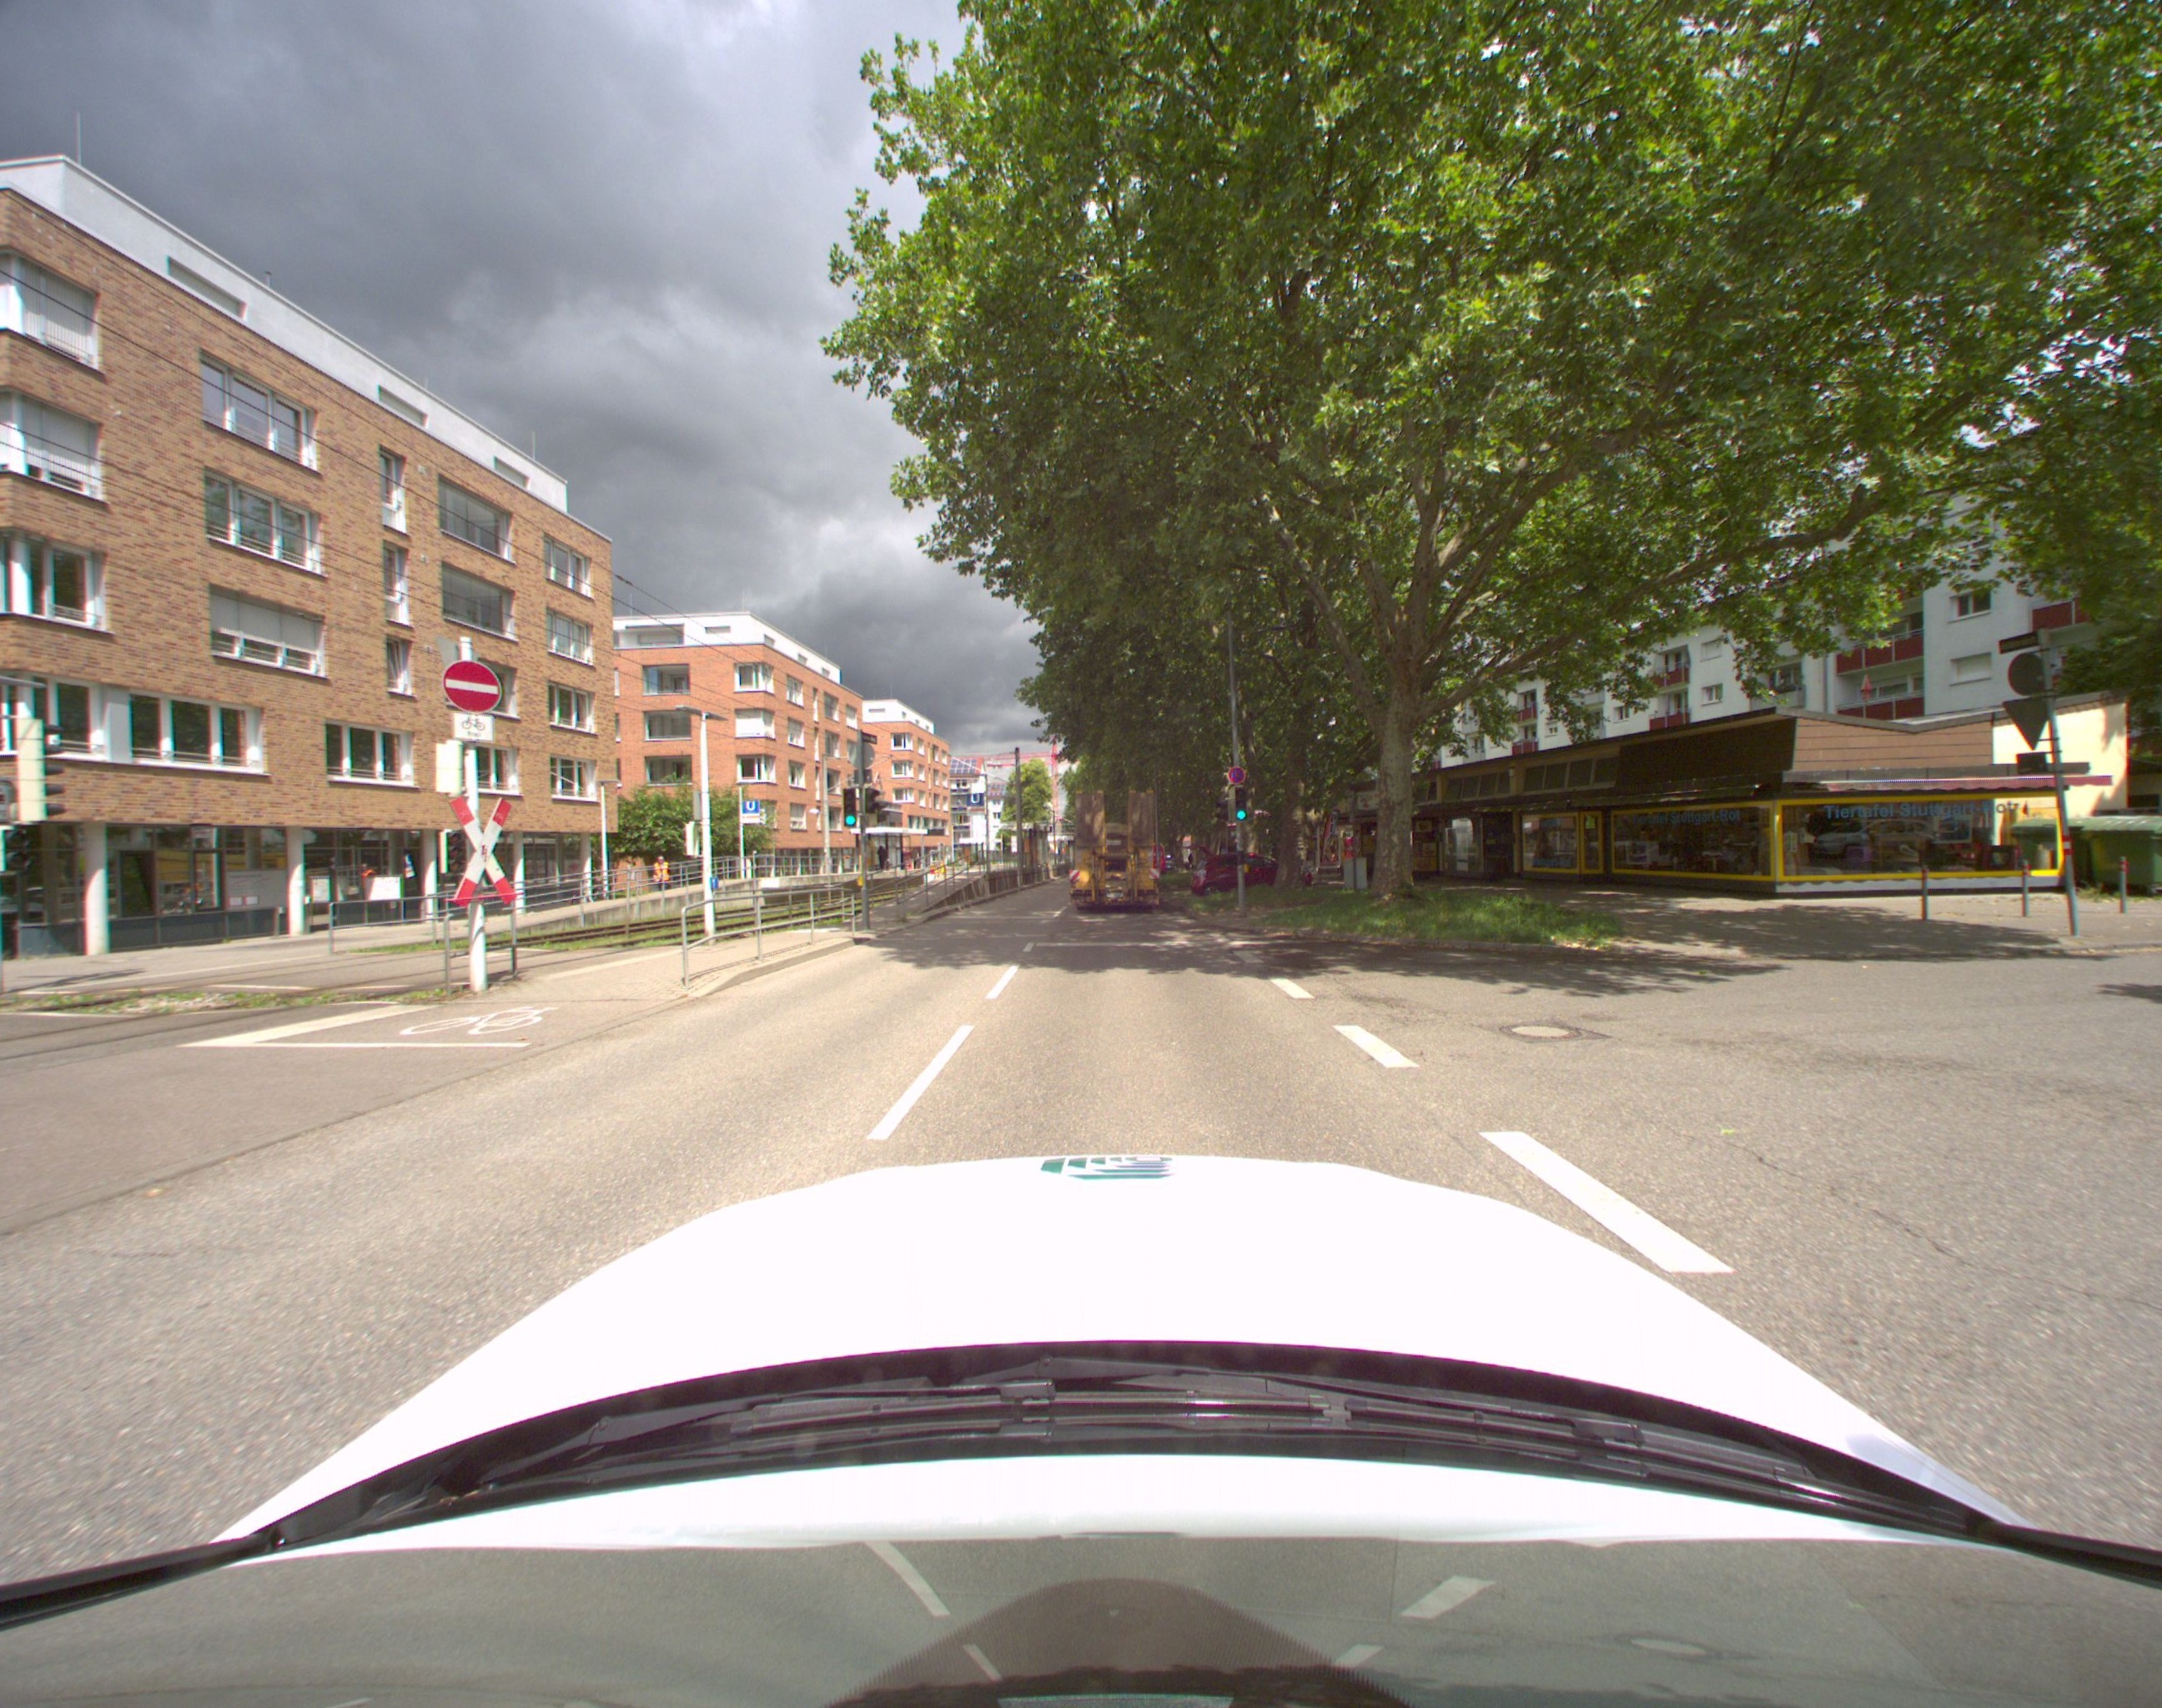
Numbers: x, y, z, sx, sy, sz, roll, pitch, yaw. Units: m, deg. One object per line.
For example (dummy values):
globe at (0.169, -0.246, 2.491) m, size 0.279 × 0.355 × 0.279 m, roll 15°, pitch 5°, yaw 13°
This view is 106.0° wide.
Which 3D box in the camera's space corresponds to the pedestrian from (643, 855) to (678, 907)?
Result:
pedestrian at (-15.253, 0.965, 29.549) m, size 0.740 × 1.825 × 0.829 m, roll -2°, pitch 0°, yaw 2°

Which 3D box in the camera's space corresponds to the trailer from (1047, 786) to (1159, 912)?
trailer at (0.858, -0.108, 28.643) m, size 3.142 × 3.552 × 11.103 m, roll 0°, pitch 0°, yaw 2°

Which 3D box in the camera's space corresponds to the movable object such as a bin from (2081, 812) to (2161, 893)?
movable object such as a bin at (20.018, -0.049, 15.233) m, size 1.172 × 1.412 × 1.212 m, roll -3°, pitch 2°, yaw -1°

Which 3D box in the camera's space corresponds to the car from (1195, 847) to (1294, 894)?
car at (6.262, 0.633, 31.425) m, size 3.397 × 1.514 × 1.609 m, roll -4°, pitch -1°, yaw -2°

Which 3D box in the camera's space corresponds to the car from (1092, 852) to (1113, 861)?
car at (5.423, 0.667, 205.619) m, size 5.092 × 2.102 × 1.969 m, roll 1°, pitch -1°, yaw -12°

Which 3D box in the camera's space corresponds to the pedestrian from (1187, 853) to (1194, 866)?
pedestrian at (12.001, 0.649, 89.281) m, size 0.693 × 1.392 × 0.512 m, roll -2°, pitch -1°, yaw -1°

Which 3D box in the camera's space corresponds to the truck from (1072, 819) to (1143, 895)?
truck at (1.281, 0.146, 38.124) m, size 2.977 × 3.135 × 7.892 m, roll 0°, pitch 0°, yaw 2°

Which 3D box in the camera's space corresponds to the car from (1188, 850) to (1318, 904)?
car at (5.636, 0.742, 27.085) m, size 4.010 × 1.611 × 1.733 m, roll -2°, pitch 0°, yaw 5°

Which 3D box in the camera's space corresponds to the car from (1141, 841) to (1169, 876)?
car at (5.911, 0.386, 65.758) m, size 1.896 × 2.581 × 6.839 m, roll -3°, pitch 0°, yaw 3°

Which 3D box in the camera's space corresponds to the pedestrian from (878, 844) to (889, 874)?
pedestrian at (-12.074, 0.307, 49.796) m, size 0.532 × 1.764 × 0.528 m, roll -2°, pitch -1°, yaw 0°

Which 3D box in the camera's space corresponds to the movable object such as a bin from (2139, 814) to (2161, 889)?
movable object such as a bin at (21.245, -0.057, 15.312) m, size 1.172 × 1.412 × 1.212 m, roll -3°, pitch 2°, yaw -1°

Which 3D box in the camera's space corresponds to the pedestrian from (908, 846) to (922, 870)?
pedestrian at (-11.624, 0.265, 57.006) m, size 0.748 × 1.629 × 0.816 m, roll 0°, pitch 0°, yaw 3°

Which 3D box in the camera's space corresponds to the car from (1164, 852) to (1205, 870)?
car at (10.319, 0.671, 81.205) m, size 3.822 × 1.562 × 1.617 m, roll -3°, pitch -1°, yaw -4°
